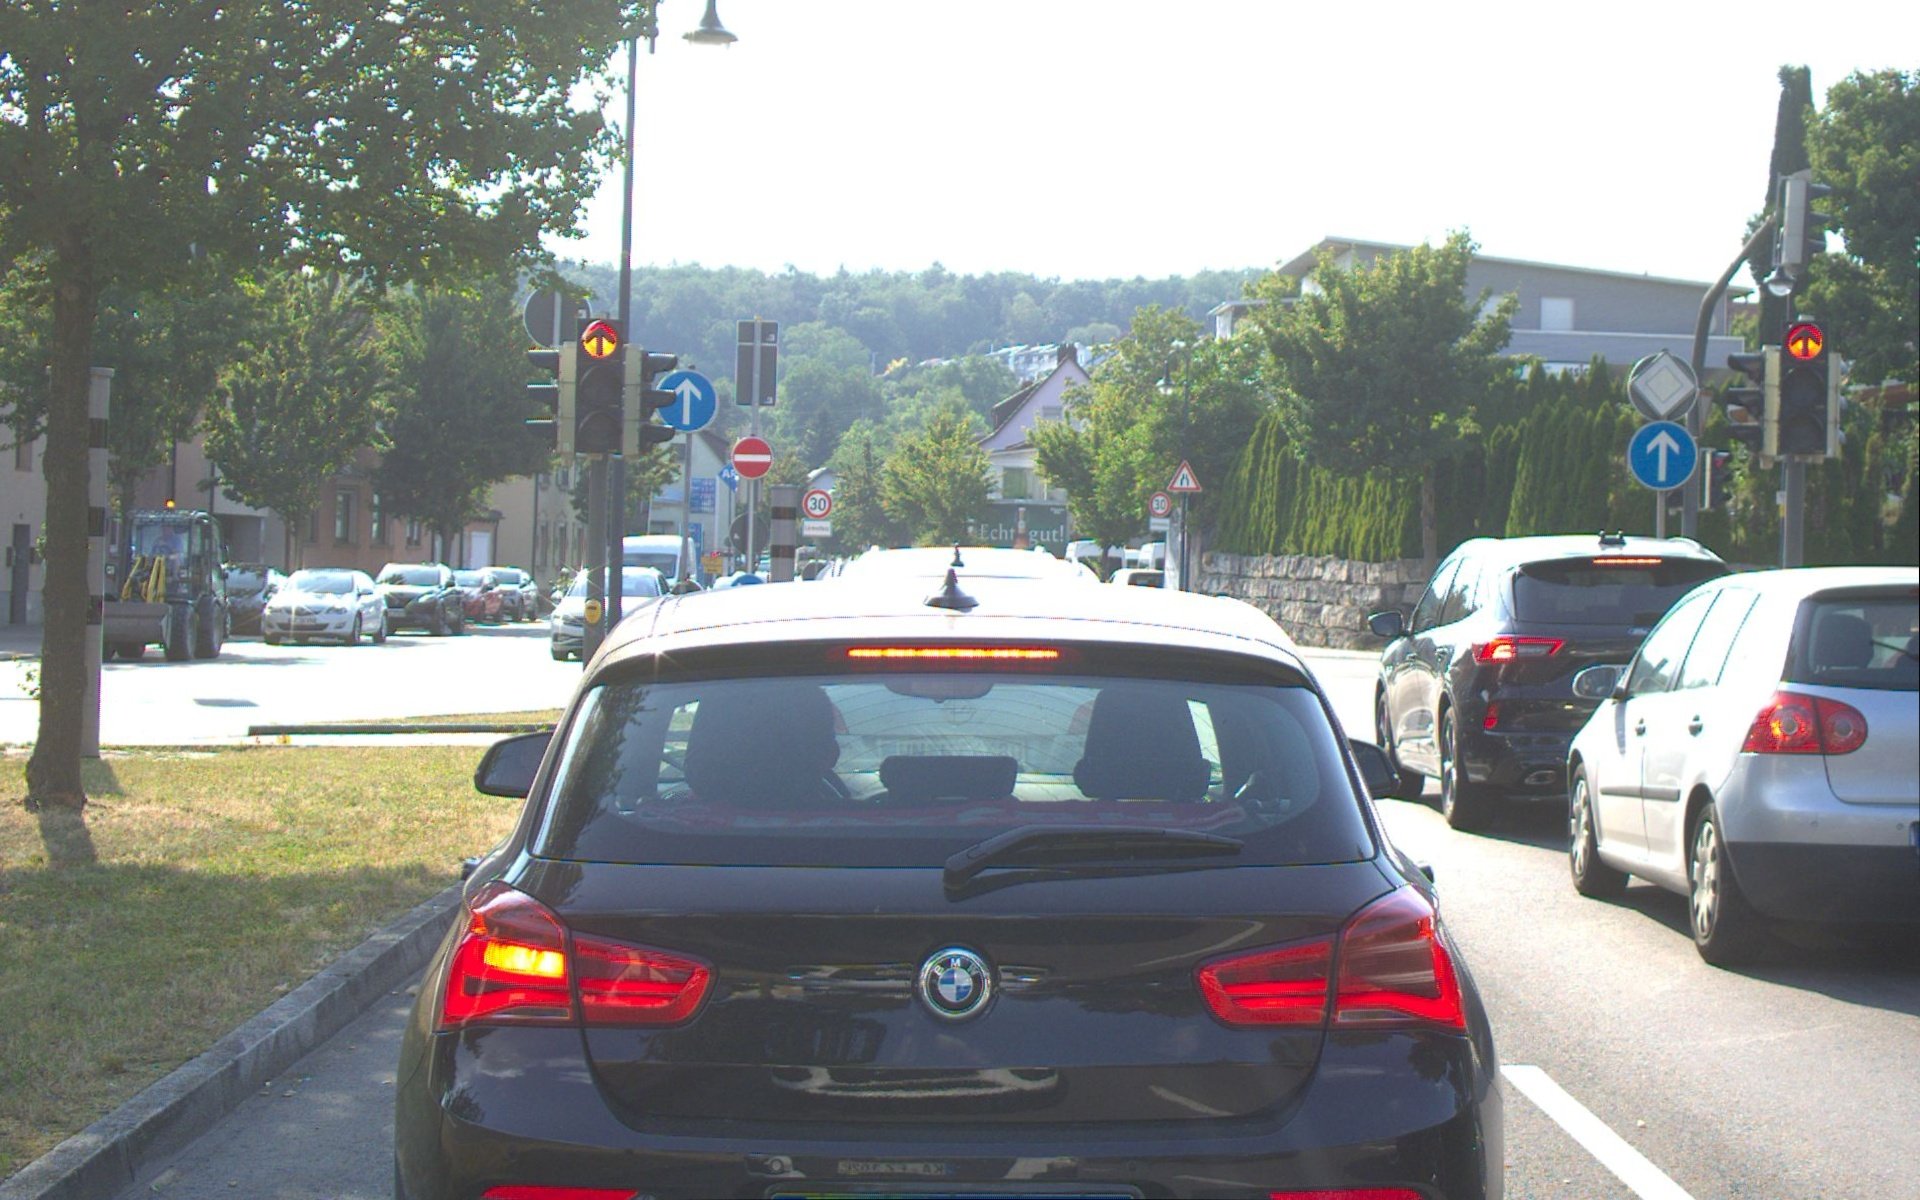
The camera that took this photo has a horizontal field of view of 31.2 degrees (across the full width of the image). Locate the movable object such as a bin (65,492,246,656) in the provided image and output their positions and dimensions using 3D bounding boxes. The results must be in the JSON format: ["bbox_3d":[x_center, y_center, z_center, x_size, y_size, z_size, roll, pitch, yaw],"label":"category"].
[{"bbox_3d":[-12.419,-0.411,53.309,1.736,2.433,4.450,0,1,0],"label":"movable object such as a bin"}]

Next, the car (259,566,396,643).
[{"bbox_3d":[-12.290,0.072,67.000,1.737,1.296,3.799,5,1,2],"label":"car"}]

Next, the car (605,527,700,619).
[{"bbox_3d":[-8.302,-0.740,93.217,2.084,2.385,5.529,1,1,0],"label":"car"}]

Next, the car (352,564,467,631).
[{"bbox_3d":[-12.407,-0.073,77.676,1.737,1.296,3.799,5,1,2],"label":"car"}]

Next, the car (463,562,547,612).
[{"bbox_3d":[-13.598,-0.404,102.898,1.737,1.296,3.799,5,1,2],"label":"car"}]

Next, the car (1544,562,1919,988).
[{"bbox_3d":[3.558,0.582,13.777,1.761,1.421,3.903,-1,1,0],"label":"car"}]

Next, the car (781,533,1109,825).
[{"bbox_3d":[-0.078,0.398,21.079,1.788,1.588,4.281,-1,1,0],"label":"car"}]

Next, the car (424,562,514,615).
[{"bbox_3d":[-13.856,-0.347,97.200,1.737,1.296,3.799,5,1,2],"label":"car"}]

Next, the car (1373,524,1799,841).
[{"bbox_3d":[3.531,0.403,20.058,1.761,1.650,3.903,-1,1,0],"label":"car"}]

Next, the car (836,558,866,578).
[{"bbox_3d":[-7.840,-2.286,247.275,1.737,1.296,3.799,5,1,2],"label":"car"}]

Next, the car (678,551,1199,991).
[{"bbox_3d":[-0.071,0.563,14.039,1.788,1.488,4.281,-1,1,0],"label":"car"}]

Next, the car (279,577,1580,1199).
[{"bbox_3d":[-0.035,0.683,6.894,1.788,1.393,4.281,-1,1,0],"label":"car"}]

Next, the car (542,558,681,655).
[{"bbox_3d":[-5.592,0.077,55.548,1.839,1.477,4.000,1,1,0],"label":"car"}]

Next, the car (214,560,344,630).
[{"bbox_3d":[-14.514,-0.120,73.463,1.737,1.296,4.000,5,1,2],"label":"car"}]

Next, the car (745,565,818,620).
[{"bbox_3d":[-5.044,-0.240,97.473,1.839,1.477,4.000,1,1,0],"label":"car"}]
